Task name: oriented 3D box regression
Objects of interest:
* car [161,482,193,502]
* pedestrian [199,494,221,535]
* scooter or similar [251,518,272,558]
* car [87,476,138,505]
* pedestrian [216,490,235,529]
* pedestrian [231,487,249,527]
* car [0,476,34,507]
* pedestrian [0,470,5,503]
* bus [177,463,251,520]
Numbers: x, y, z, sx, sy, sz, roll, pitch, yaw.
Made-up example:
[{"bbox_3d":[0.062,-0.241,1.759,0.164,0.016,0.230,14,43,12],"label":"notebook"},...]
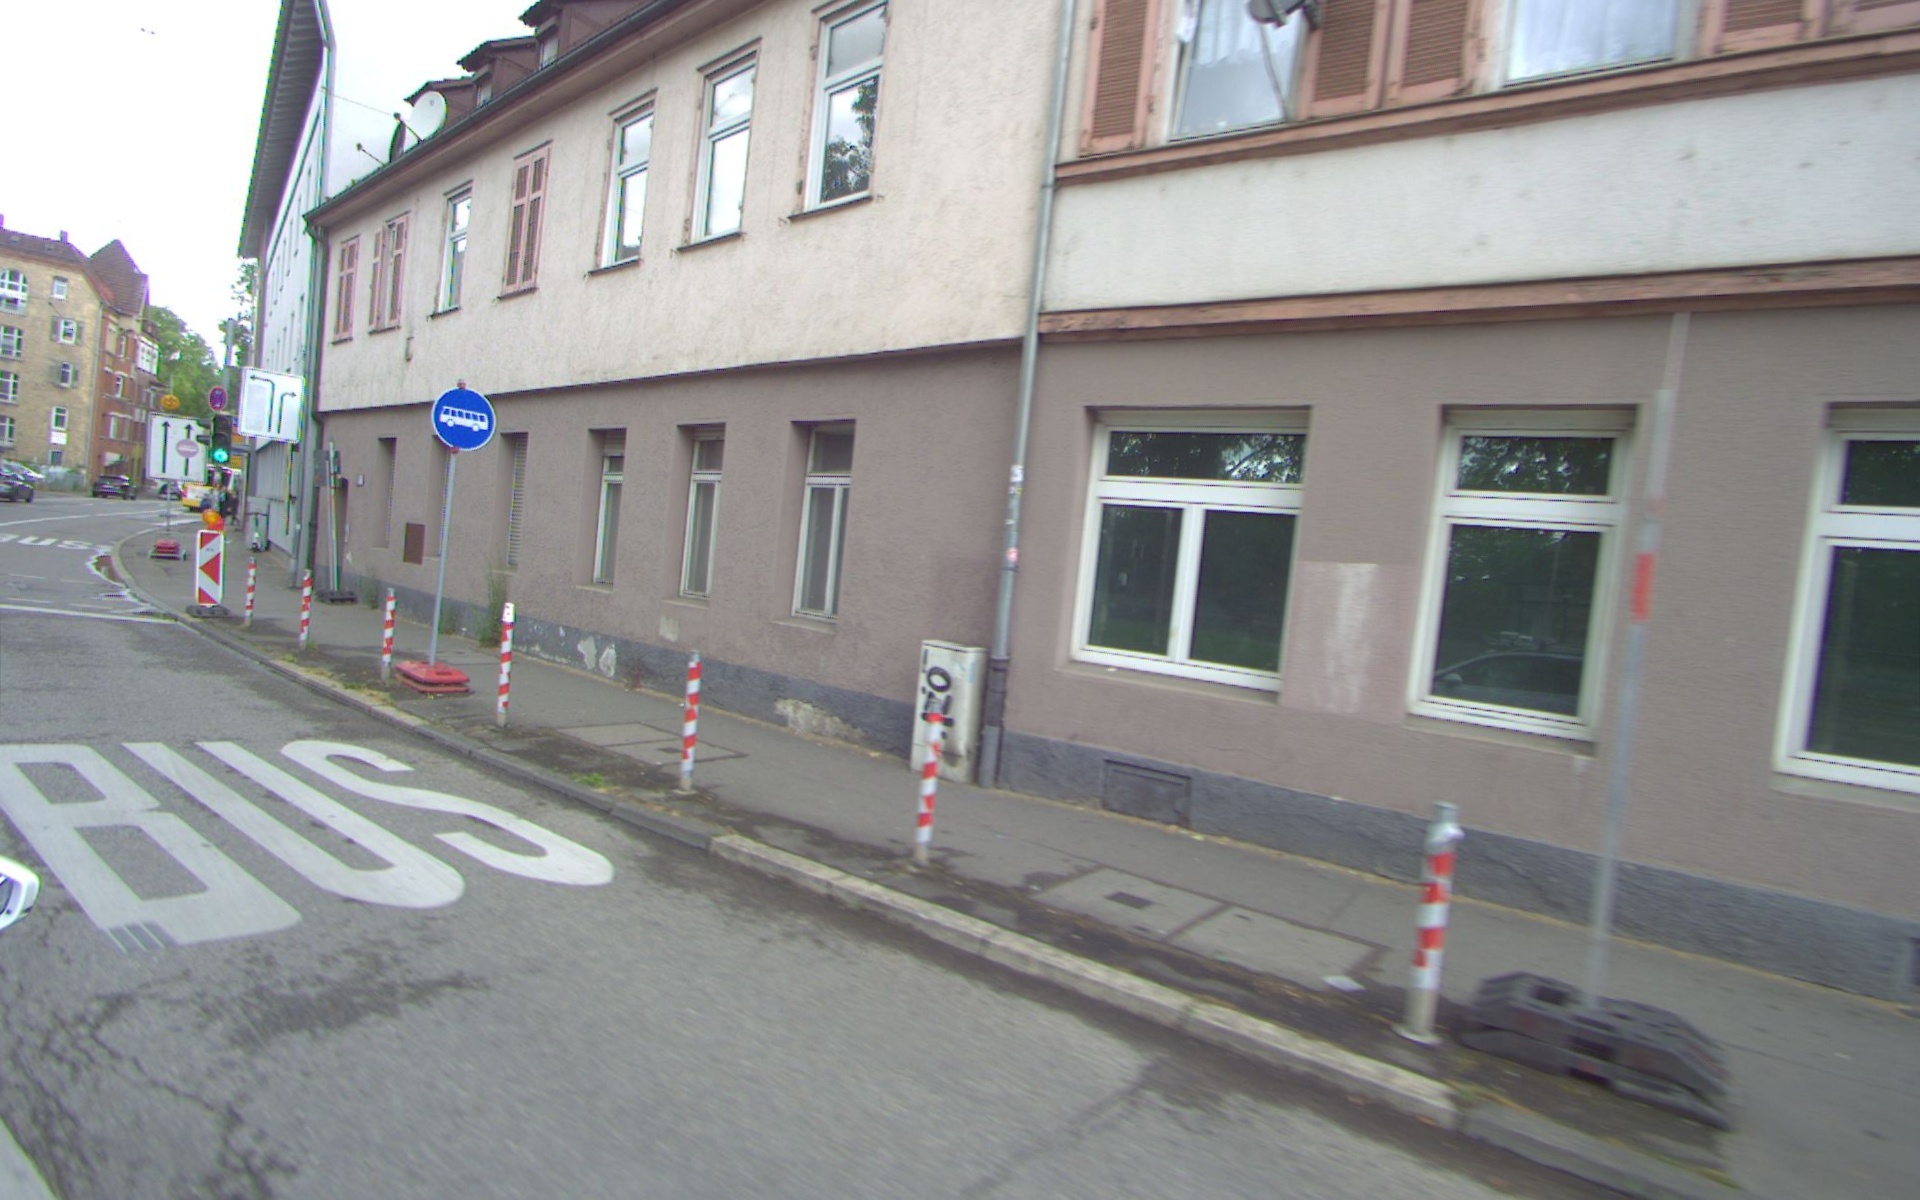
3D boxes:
[{"bbox_3d":[-74.632,-10.304,95.930,1.711,1.506,4.352,6,3,-30],"label":"car"},{"bbox_3d":[-35.642,-4.061,47.796,0.798,1.819,0.932,1,6,-37],"label":"pedestrian"},{"bbox_3d":[-21.060,-1.873,30.322,0.426,1.112,1.423,2,4,-38],"label":"scooter or similar"},{"bbox_3d":[-61.363,-7.947,72.918,1.939,1.757,4.732,5,2,-31],"label":"car"},{"bbox_3d":[-34.587,-4.264,47.365,0.682,1.782,0.868,1,6,-37],"label":"pedestrian"},{"bbox_3d":[-33.723,-4.353,47.095,0.536,1.782,0.604,3,5,-24],"label":"pedestrian"},{"bbox_3d":[-47.698,-5.464,49.822,1.982,1.305,3.963,8,-1,-34],"label":"car"},{"bbox_3d":[-52.827,-6.256,54.888,0.756,1.765,0.975,7,1,-34],"label":"pedestrian"},{"bbox_3d":[-49.870,-7.191,67.489,2.643,3.175,9.955,7,1,-30],"label":"bus"}]
